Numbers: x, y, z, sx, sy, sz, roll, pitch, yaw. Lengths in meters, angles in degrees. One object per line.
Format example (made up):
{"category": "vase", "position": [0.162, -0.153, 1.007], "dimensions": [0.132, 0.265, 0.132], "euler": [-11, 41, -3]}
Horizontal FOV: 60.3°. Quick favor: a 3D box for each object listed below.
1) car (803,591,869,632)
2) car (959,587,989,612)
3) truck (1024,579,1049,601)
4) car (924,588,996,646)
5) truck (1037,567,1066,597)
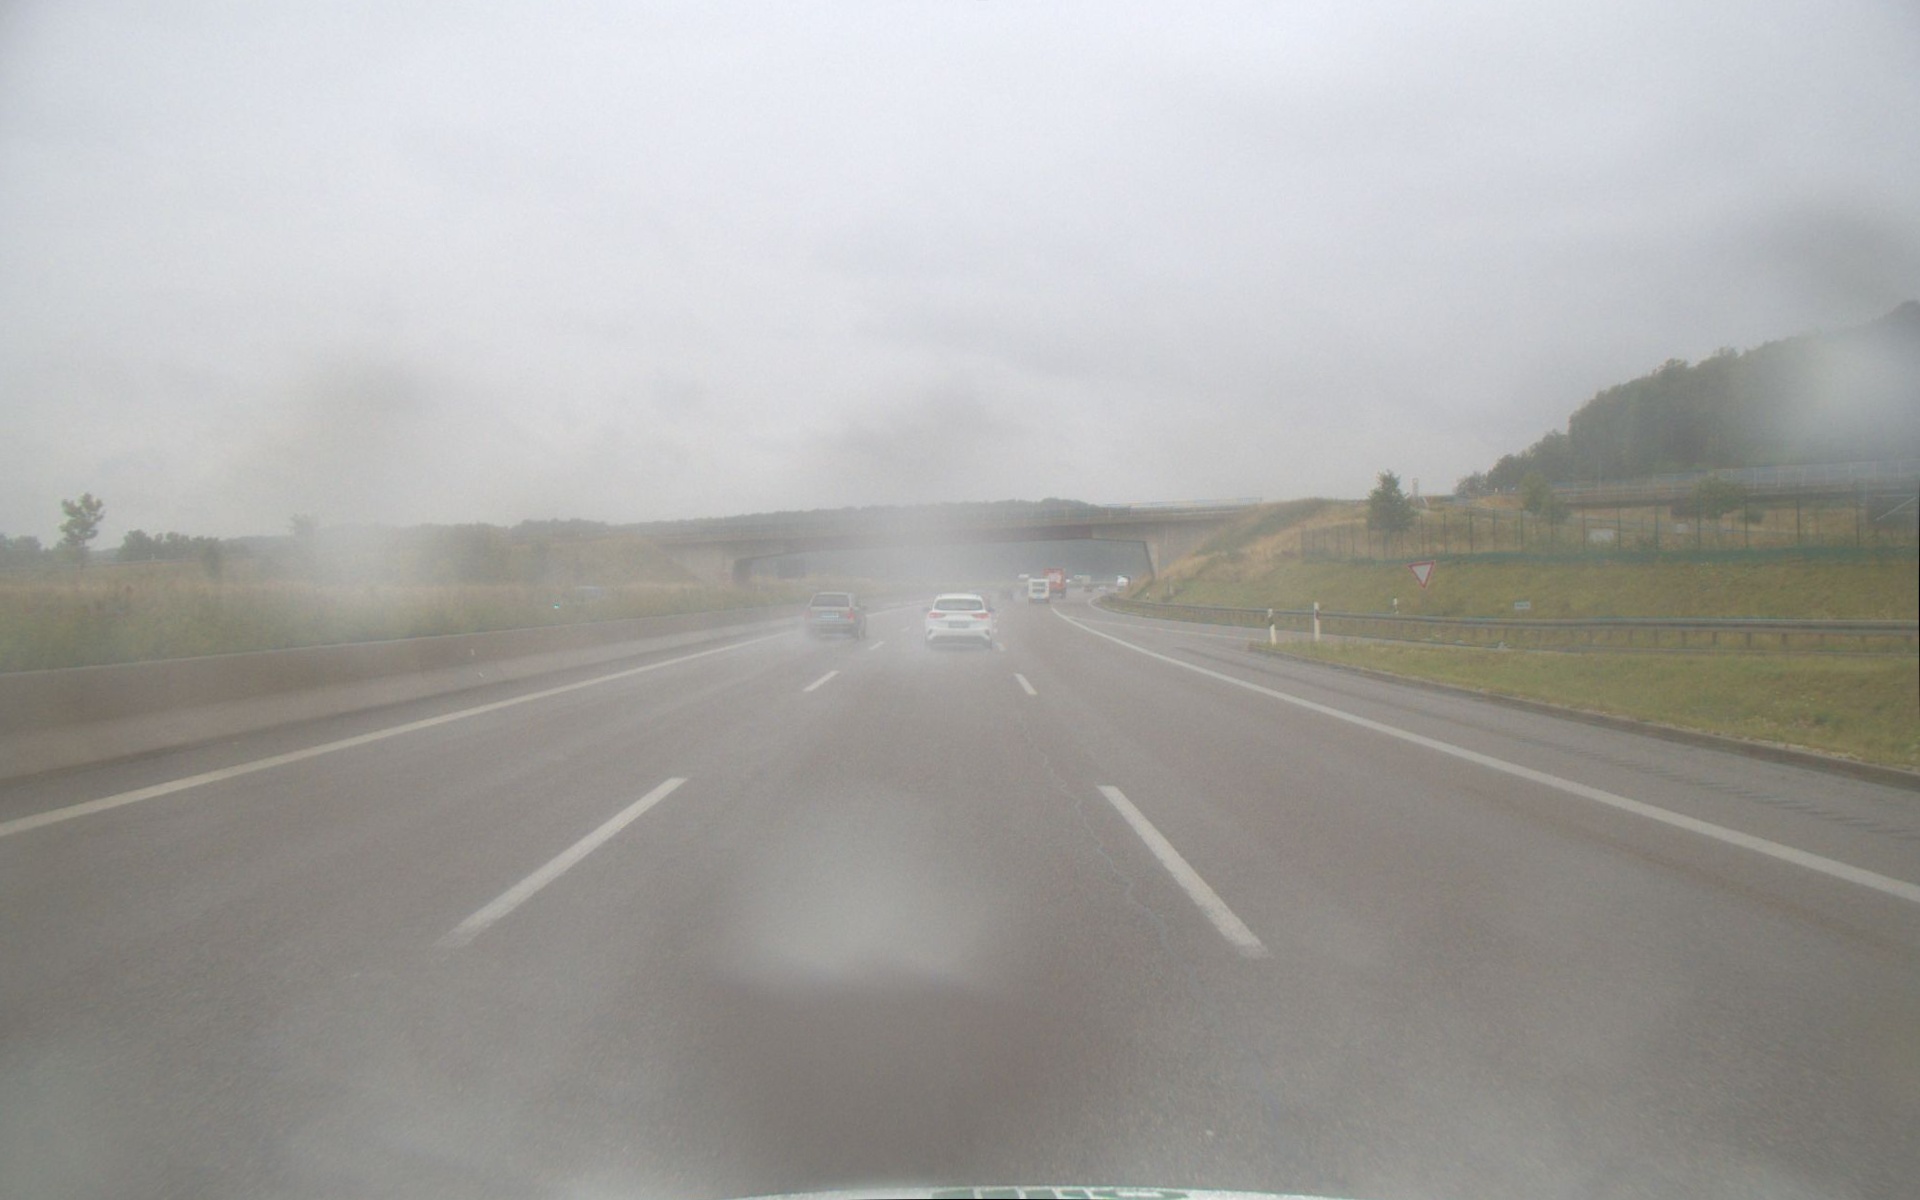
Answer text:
{"category": "car", "position": [-3.787, 0.360, 51.187], "dimensions": [1.787, 1.177, 4.211], "euler": [1, -1, -1]}
{"category": "car", "position": [0.944, -0.038, 109.439], "dimensions": [1.952, 1.646, 4.000], "euler": [0, 0, 1]}
{"category": "truck", "position": [8.134, -1.061, 174.693], "dimensions": [2.357, 2.291, 4.696], "euler": [0, 0, 6]}
{"category": "car", "position": [-0.015, 0.441, 44.372], "dimensions": [1.829, 1.488, 3.999], "euler": [1, 0, -1]}
{"category": "truck", "position": [12.544, -2.530, 228.016], "dimensions": [3.455, 3.808, 11.428], "euler": [1, 1, 1]}
